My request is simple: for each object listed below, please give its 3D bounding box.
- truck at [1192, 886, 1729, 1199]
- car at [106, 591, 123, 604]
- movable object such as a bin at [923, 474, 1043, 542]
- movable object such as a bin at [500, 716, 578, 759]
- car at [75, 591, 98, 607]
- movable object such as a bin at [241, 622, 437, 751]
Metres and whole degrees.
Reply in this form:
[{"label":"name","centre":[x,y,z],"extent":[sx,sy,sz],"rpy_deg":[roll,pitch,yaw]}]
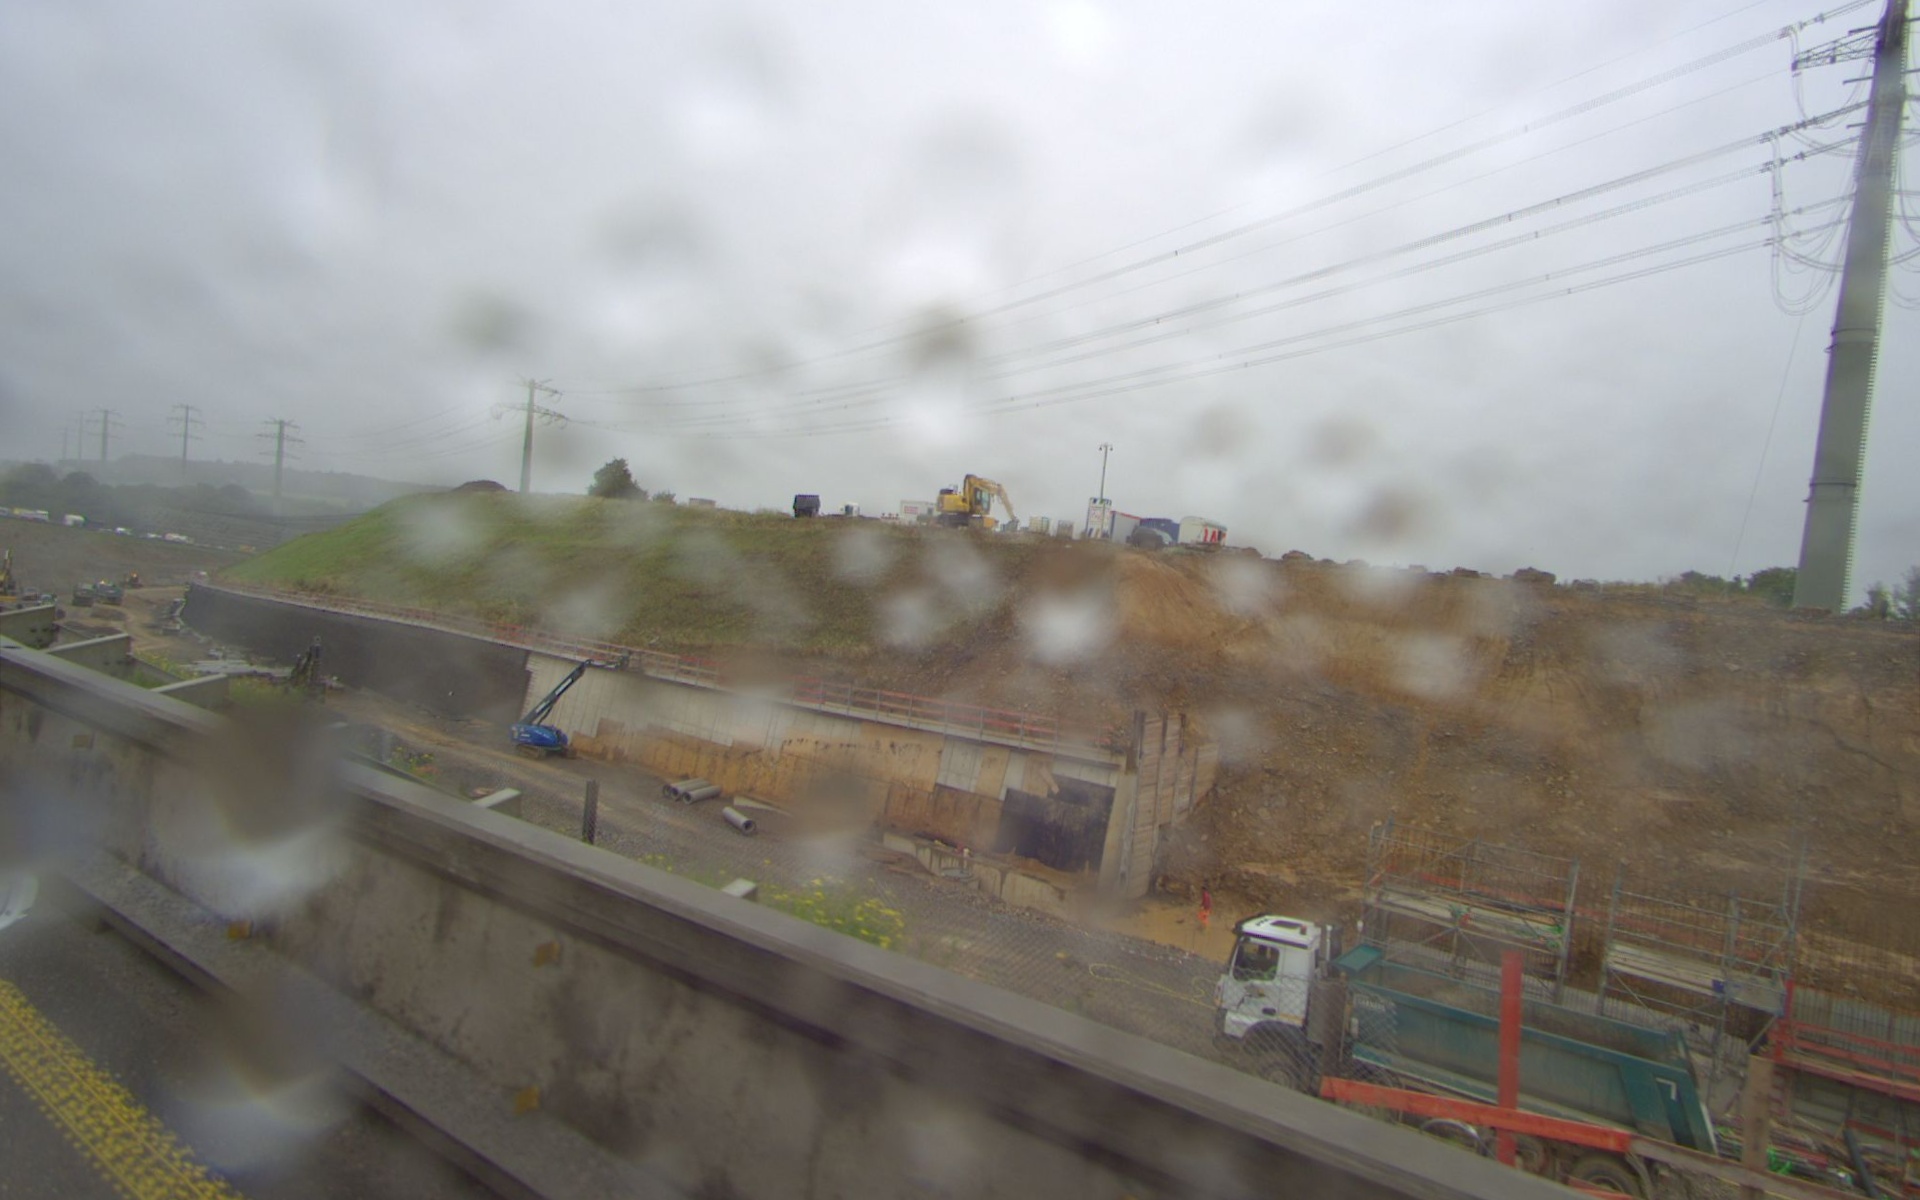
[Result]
[{"label":"truck","centre":[9.511,8.806,20.099],"extent":[8.934,3.657,2.702],"rpy_deg":[5,0,36]},{"label":"car","centre":[-150.665,-0.431,179.217],"extent":[1.987,1.837,3.952],"rpy_deg":[8,-2,-43]},{"label":"movable object such as a bin","centre":[1.565,-6.621,71.868],"extent":[8.061,4.258,3.096],"rpy_deg":[6,0,40]},{"label":"movable object such as a bin","centre":[-23.855,7.793,57.044],"extent":[3.205,1.932,2.522],"rpy_deg":[5,-4,33]},{"label":"car","centre":[-140.355,-0.162,161.619],"extent":[3.949,2.037,2.361],"rpy_deg":[6,-2,45]},{"label":"movable object such as a bin","centre":[-34.121,4.599,55.006],"extent":[11.920,5.731,4.895],"rpy_deg":[3,-5,39]}]
